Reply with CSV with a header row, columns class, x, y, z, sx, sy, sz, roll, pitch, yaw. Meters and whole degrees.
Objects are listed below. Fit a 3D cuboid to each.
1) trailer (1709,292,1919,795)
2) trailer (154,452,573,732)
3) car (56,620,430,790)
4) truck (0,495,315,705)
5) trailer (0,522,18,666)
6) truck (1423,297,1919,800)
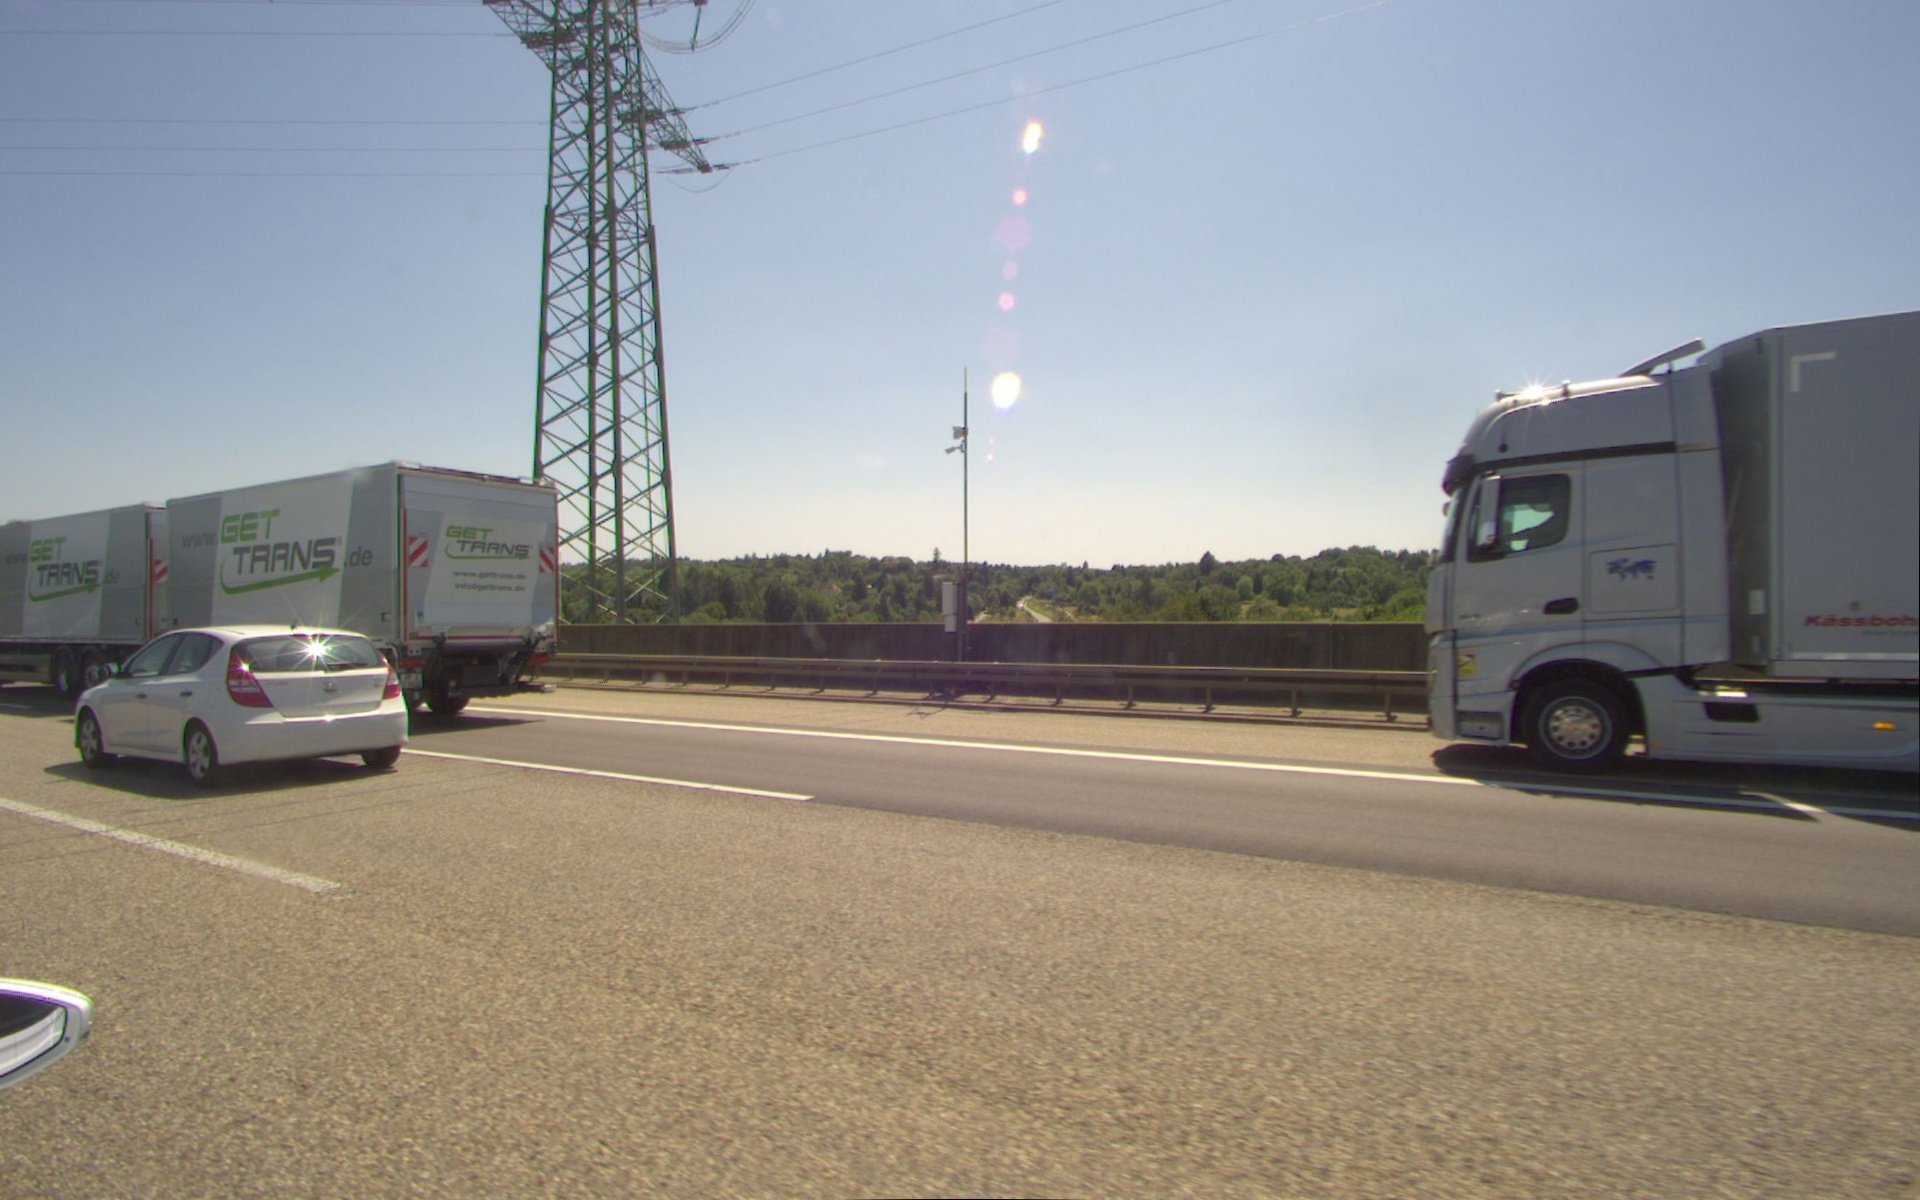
class,x,y,z,sx,sy,sz,roll,pitch,yaw
trailer,13.425,-0.499,6.419,13.572,4.172,2.532,-1,-2,32
trailer,-10.114,-0.060,16.654,7.899,3.748,2.693,0,0,32
car,-7.685,0.957,10.636,4.231,1.474,1.785,-1,-1,32
truck,-18.090,0.071,21.616,10.851,3.695,2.652,-1,0,32
trailer,-32.884,-0.141,31.309,8.883,4.293,2.860,-1,-2,32
truck,7.801,-0.398,9.892,5.633,4.173,2.512,-1,-1,31
